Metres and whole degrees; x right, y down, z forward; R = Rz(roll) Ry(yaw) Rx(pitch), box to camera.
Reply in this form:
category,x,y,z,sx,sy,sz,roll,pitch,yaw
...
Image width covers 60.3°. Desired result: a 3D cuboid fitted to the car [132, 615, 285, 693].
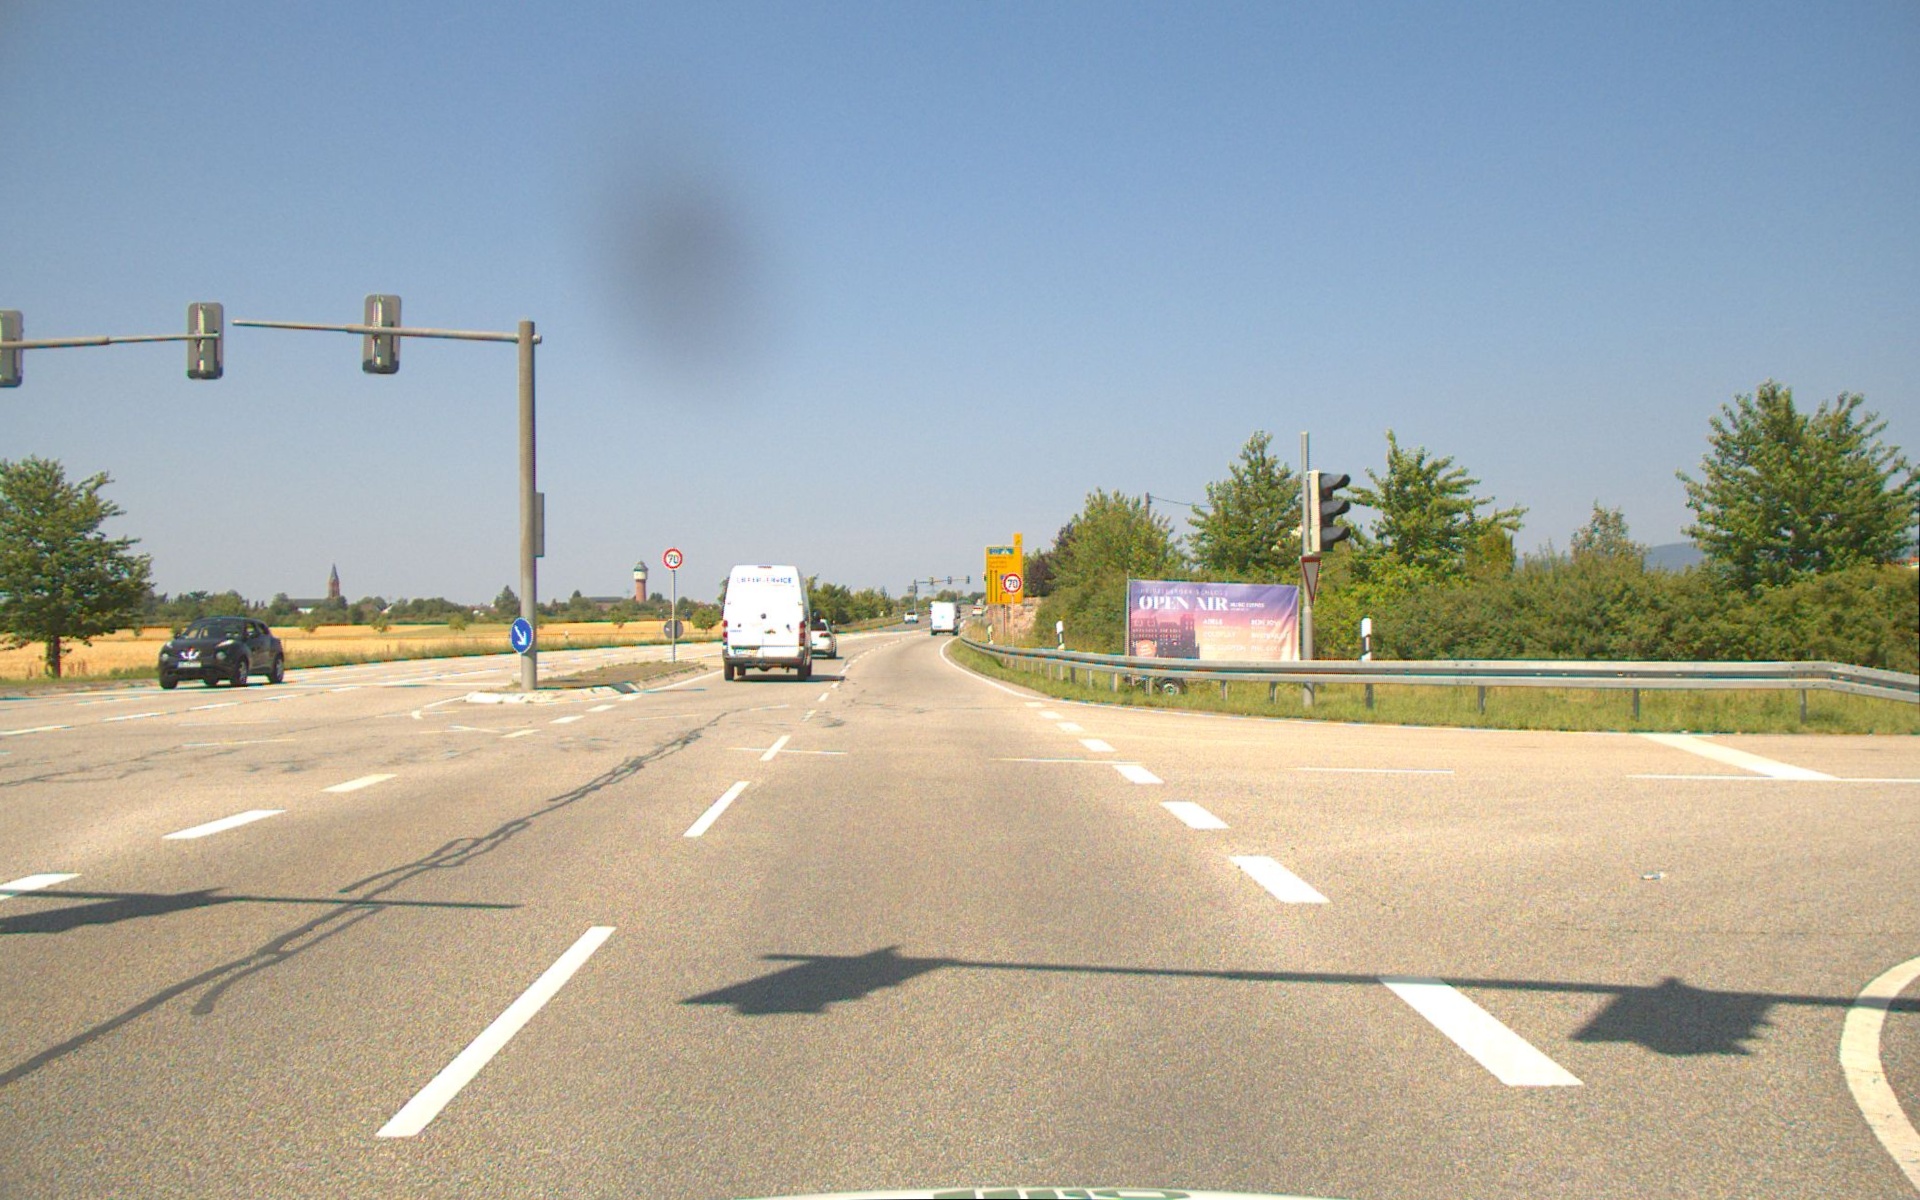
category,x,y,z,sx,sy,sz,roll,pitch,yaw
car,-16.995,1.207,37.628,1.794,1.628,4.300,-1,-1,-5

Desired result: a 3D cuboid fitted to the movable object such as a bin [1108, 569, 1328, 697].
category,x,y,z,sx,sy,sz,roll,pitch,yaw
movable object such as a bin,4.989,0.644,32.166,4.014,2.372,1.276,1,-1,-5

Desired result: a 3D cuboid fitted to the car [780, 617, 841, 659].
category,x,y,z,sx,sy,sz,roll,pitch,yaw
car,-5.641,1.410,62.841,1.762,1.534,4.197,0,-1,2

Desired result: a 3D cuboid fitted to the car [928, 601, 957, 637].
category,x,y,z,sx,sy,sz,roll,pitch,yaw
car,-1.386,1.500,130.298,1.952,2.742,4.970,1,-2,2

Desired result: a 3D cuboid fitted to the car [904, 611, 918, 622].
category,x,y,z,sx,sy,sz,roll,pitch,yaw
car,-6.917,2.368,235.488,1.712,1.467,4.083,-1,-1,2

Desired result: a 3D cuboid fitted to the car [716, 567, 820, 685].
category,x,y,z,sx,sy,sz,roll,pitch,yaw
car,-4.612,0.623,40.495,1.998,2.666,5.739,0,-1,-2
